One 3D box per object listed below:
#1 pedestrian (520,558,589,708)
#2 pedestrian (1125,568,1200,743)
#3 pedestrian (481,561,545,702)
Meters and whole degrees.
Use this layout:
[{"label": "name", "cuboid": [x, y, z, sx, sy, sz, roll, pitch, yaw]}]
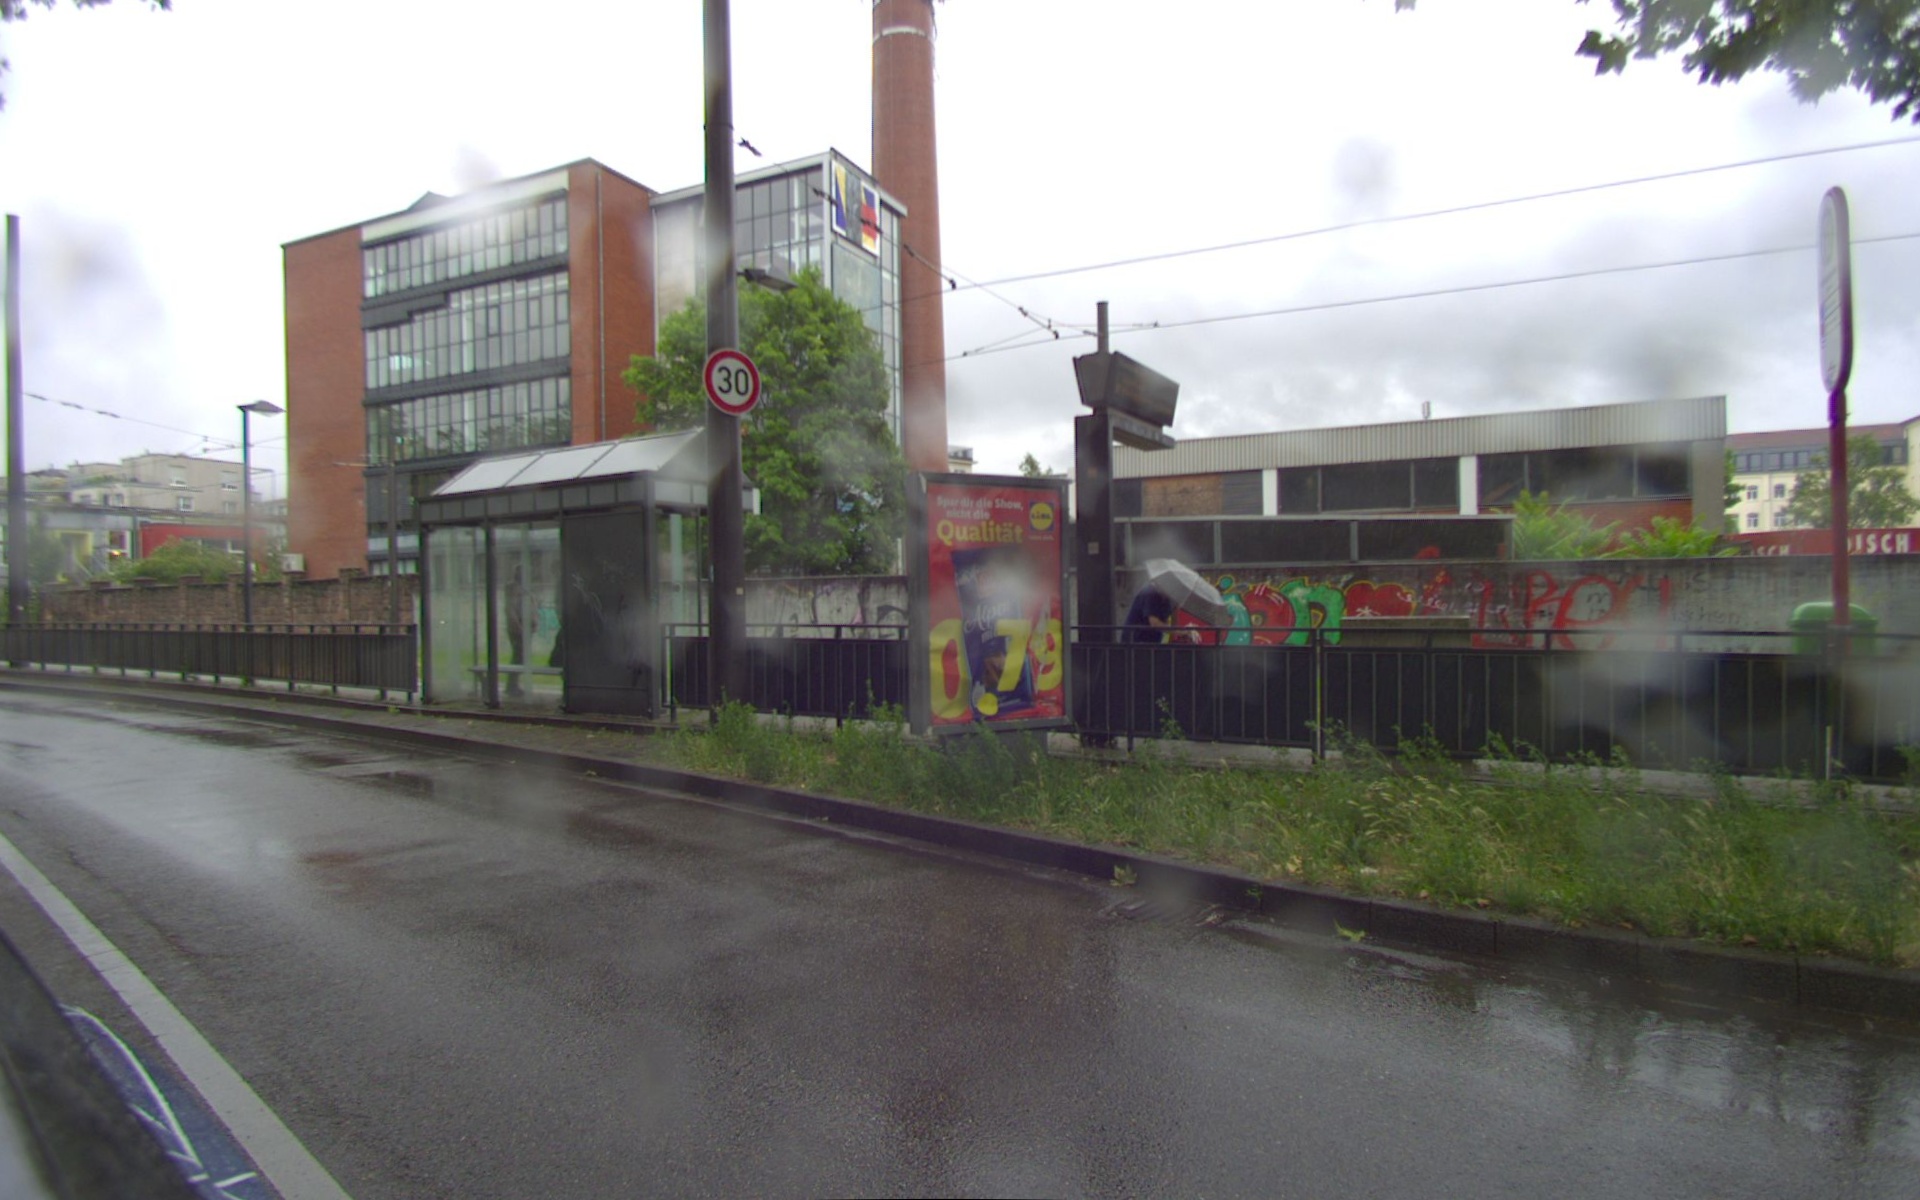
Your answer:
[{"label": "pedestrian", "cuboid": [-4.921, 0.382, 12.280, 0.620, 1.762, 0.565, -1, 0, -41]}, {"label": "pedestrian", "cuboid": [1.752, 0.459, 8.717, 0.492, 1.438, 0.606, -1, 0, 25]}, {"label": "pedestrian", "cuboid": [-5.785, 0.393, 13.099, 0.620, 1.762, 0.515, -1, 0, -41]}]
